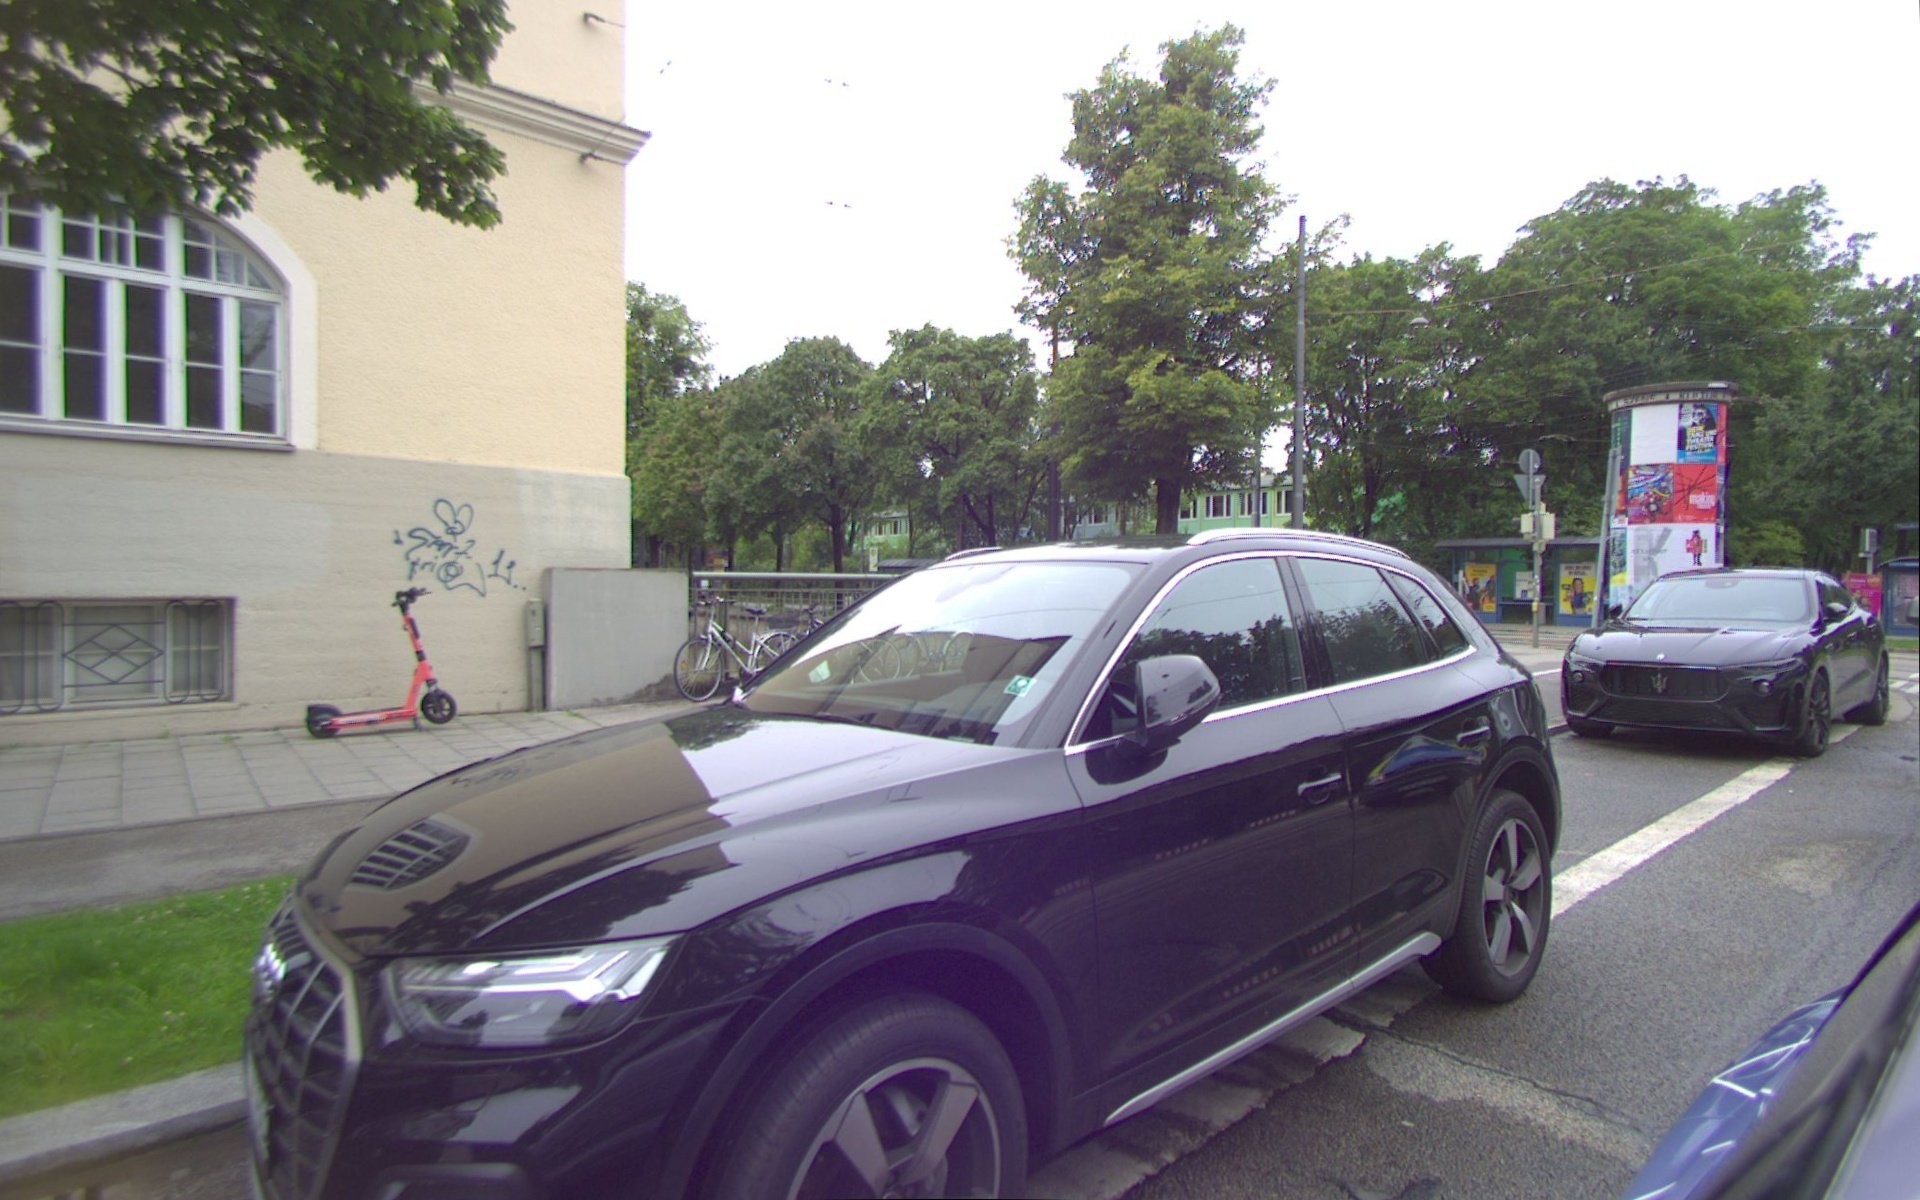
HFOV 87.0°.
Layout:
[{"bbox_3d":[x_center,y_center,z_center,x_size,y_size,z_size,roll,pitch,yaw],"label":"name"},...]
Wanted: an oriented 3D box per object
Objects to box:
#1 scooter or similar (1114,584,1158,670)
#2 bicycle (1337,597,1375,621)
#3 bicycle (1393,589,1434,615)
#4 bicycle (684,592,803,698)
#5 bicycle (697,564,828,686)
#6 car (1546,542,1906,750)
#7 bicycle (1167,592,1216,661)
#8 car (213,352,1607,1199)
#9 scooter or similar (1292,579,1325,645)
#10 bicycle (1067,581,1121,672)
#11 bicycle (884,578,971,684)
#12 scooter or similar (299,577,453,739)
[{"bbox_3d":[2.749,0.394,15.748,0.242,1.279,1.482,-1,0,27],"label":"scooter or similar"},{"bbox_3d":[16.298,0.357,41.637,0.366,0.964,1.483,-1,1,-38],"label":"bicycle"},{"bbox_3d":[17.764,0.067,39.649,0.366,0.964,1.483,-1,1,-38],"label":"bicycle"},{"bbox_3d":[-2.424,0.477,11.439,0.286,1.120,1.421,0,1,42],"label":"bicycle"},{"bbox_3d":[-2.256,0.265,11.681,1.511,1.329,0.332,-1,0,-42],"label":"bicycle"},{"bbox_3d":[7.808,0.363,10.139,4.582,1.630,1.904,0,-1,-40],"label":"car"},{"bbox_3d":[3.898,0.424,16.977,0.263,1.096,1.524,-1,0,34],"label":"bicycle"},{"bbox_3d":[0.340,0.509,3.328,4.408,1.679,1.778,-1,0,-40],"label":"car"},{"bbox_3d":[6.631,0.211,19.263,0.224,1.227,1.006,-1,0,40],"label":"scooter or similar"},{"bbox_3d":[2.018,0.365,15.103,0.280,1.298,1.395,-1,0,30],"label":"bicycle"},{"bbox_3d":[-0.399,0.374,13.019,0.281,1.298,1.391,-1,0,38],"label":"bicycle"},{"bbox_3d":[-5.052,0.467,8.793,0.261,1.329,1.124,-1,-1,45],"label":"scooter or similar"}]
